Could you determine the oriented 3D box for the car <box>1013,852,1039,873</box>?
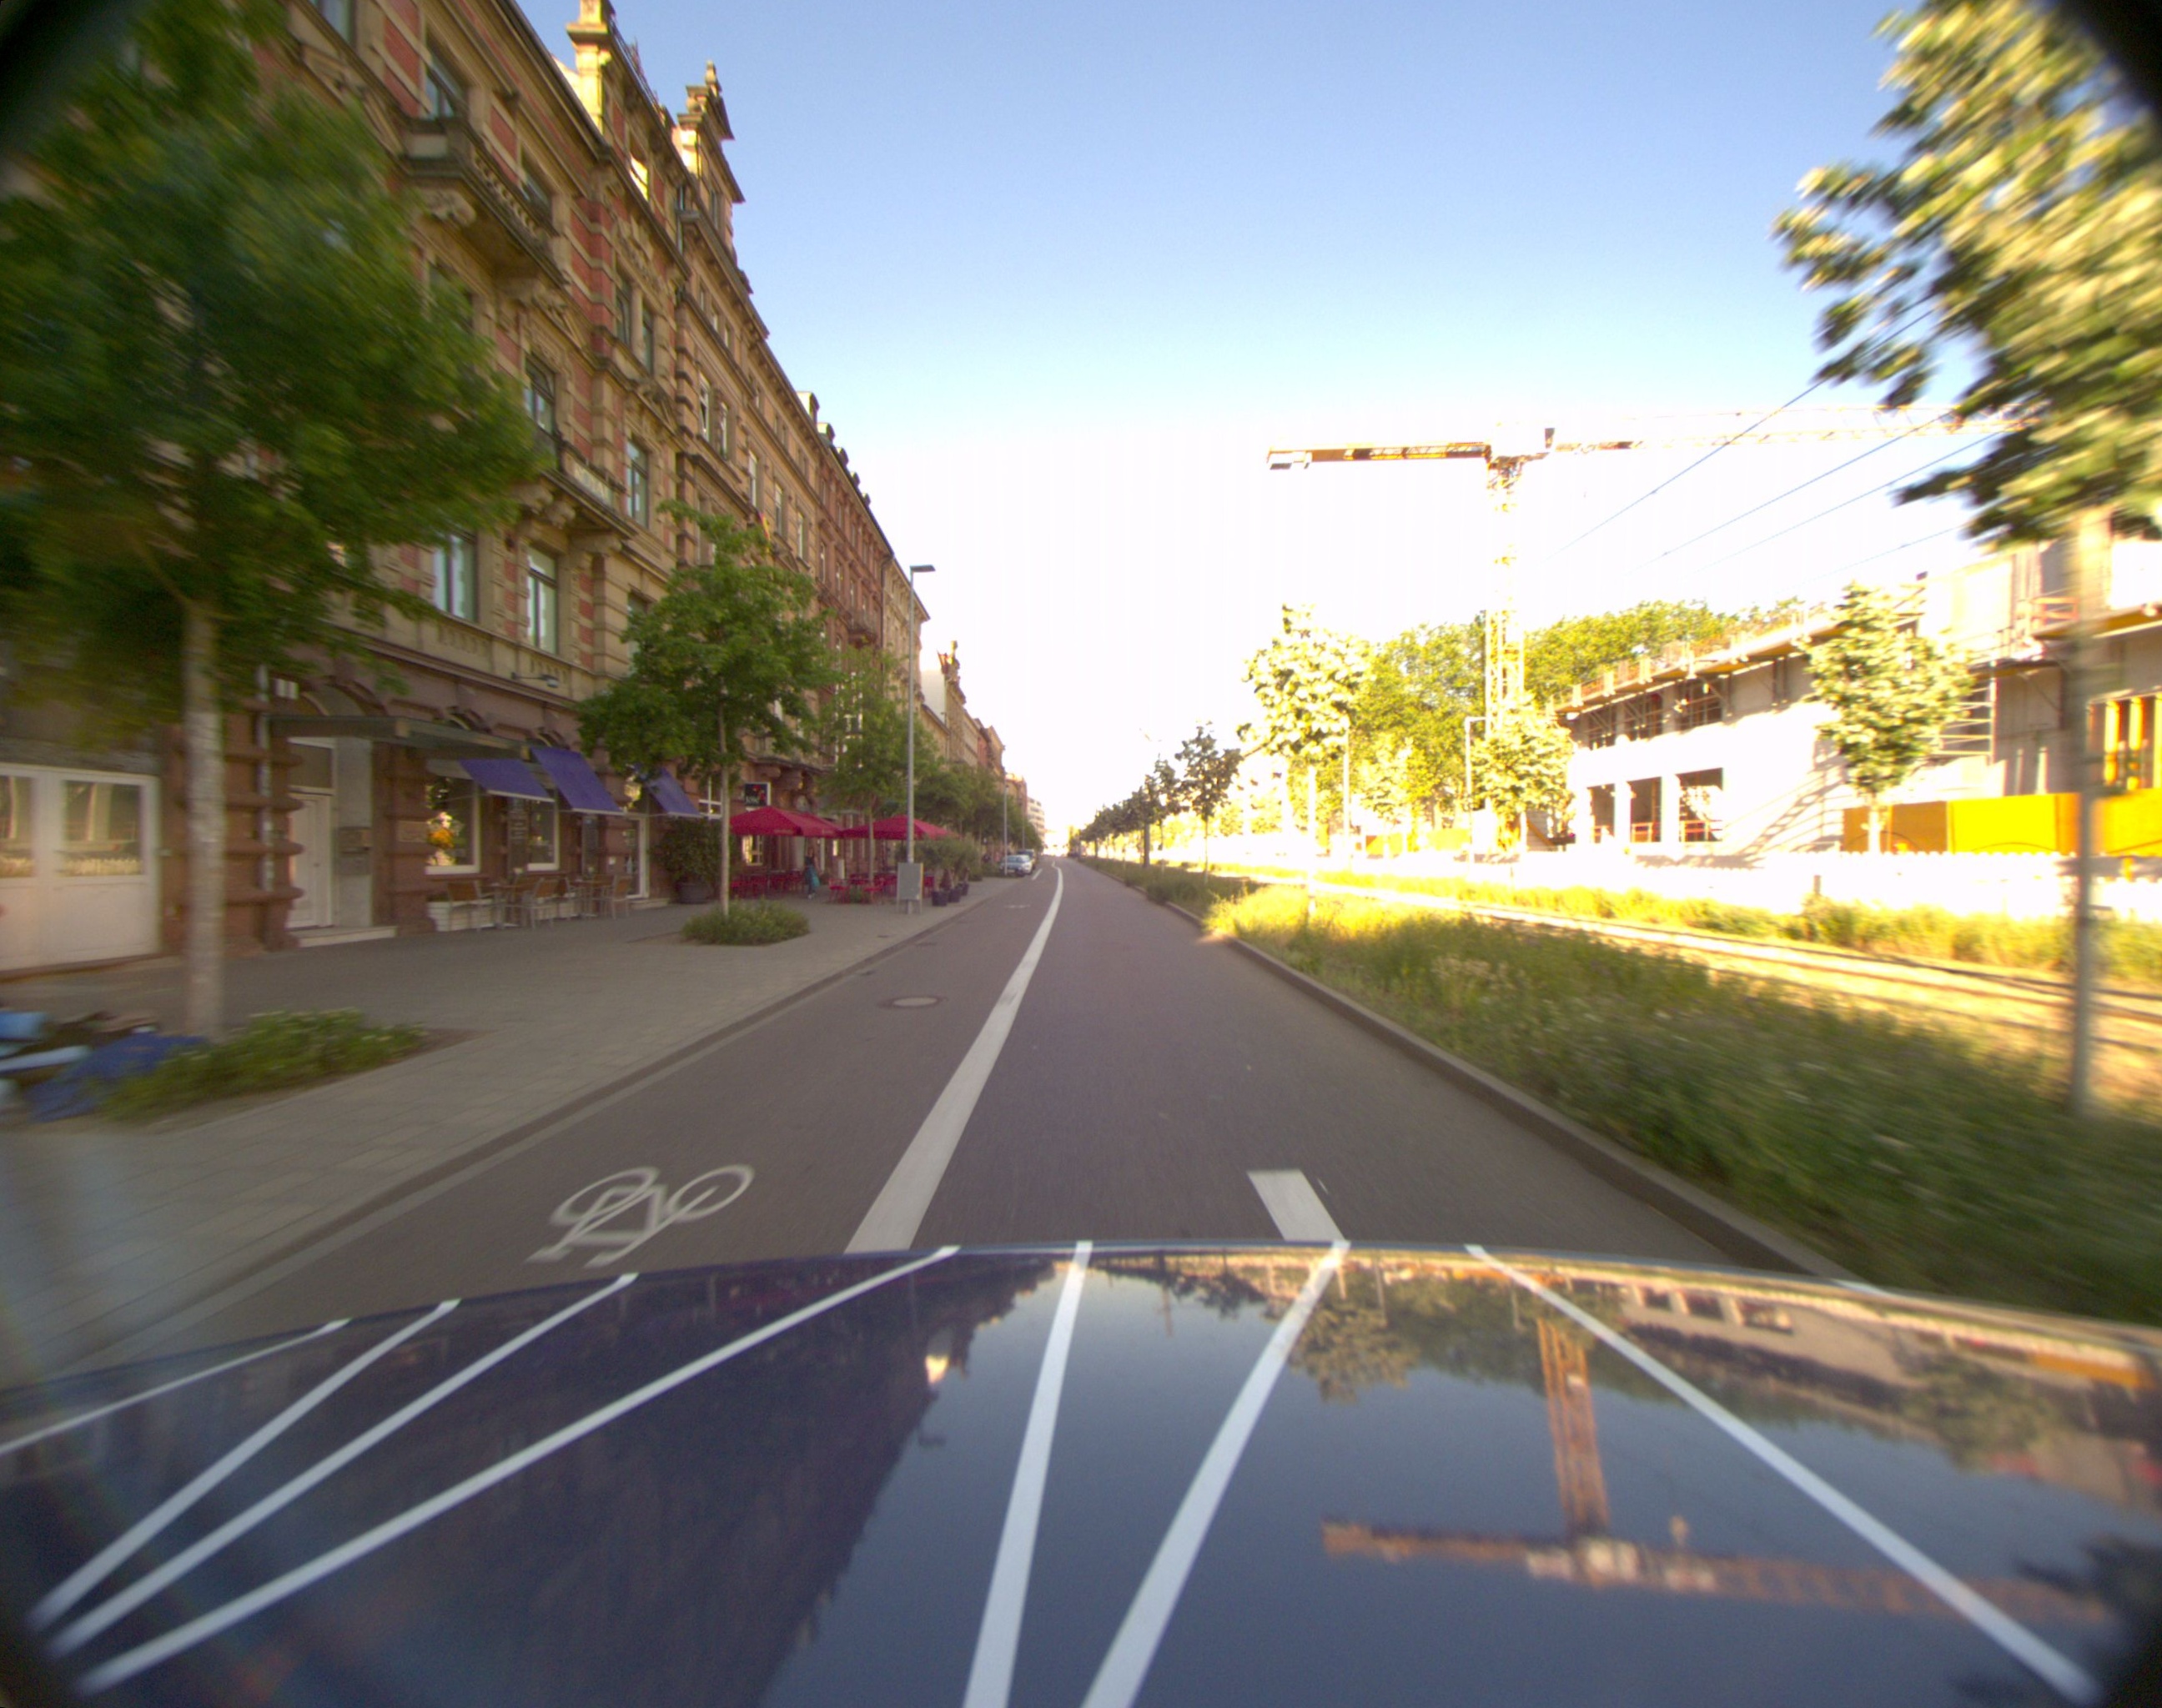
[{"bbox_3d":[-4.284,0.635,59.763,1.854,1.445,5.251,1,0,-2],"label":"car"}]

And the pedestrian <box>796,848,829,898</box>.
[{"bbox_3d":[-8.365,0.581,23.691,0.730,1.525,0.796,1,1,-1],"label":"pedestrian"}]

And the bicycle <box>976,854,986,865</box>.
[{"bbox_3d":[-8.703,0.499,66.375,0.656,0.910,1.682,-1,1,-1],"label":"bicycle"}]

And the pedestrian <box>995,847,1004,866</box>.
[{"bbox_3d":[-7.484,0.267,69.537,0.481,1.718,0.578,0,2,43],"label":"pedestrian"}]

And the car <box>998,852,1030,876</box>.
[{"bbox_3d":[-4.662,0.679,53.109,1.853,1.555,4.296,1,0,-1],"label":"car"}]

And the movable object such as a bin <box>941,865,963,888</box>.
[{"bbox_3d":[-5.562,0.976,32.772,0.676,0.919,0.561,3,2,19],"label":"movable object such as a bin"}]

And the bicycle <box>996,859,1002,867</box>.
[{"bbox_3d":[-6.773,0.763,62.839,0.355,0.643,1.002,-1,1,-1],"label":"bicycle"}]

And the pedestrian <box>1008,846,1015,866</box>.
[{"bbox_3d":[-6.352,0.193,69.269,0.471,1.768,0.506,-1,1,18],"label":"pedestrian"}]

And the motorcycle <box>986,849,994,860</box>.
[{"bbox_3d":[-11.351,0.053,94.940,0.788,1.413,2.053,-1,1,-1],"label":"motorcycle"}]
